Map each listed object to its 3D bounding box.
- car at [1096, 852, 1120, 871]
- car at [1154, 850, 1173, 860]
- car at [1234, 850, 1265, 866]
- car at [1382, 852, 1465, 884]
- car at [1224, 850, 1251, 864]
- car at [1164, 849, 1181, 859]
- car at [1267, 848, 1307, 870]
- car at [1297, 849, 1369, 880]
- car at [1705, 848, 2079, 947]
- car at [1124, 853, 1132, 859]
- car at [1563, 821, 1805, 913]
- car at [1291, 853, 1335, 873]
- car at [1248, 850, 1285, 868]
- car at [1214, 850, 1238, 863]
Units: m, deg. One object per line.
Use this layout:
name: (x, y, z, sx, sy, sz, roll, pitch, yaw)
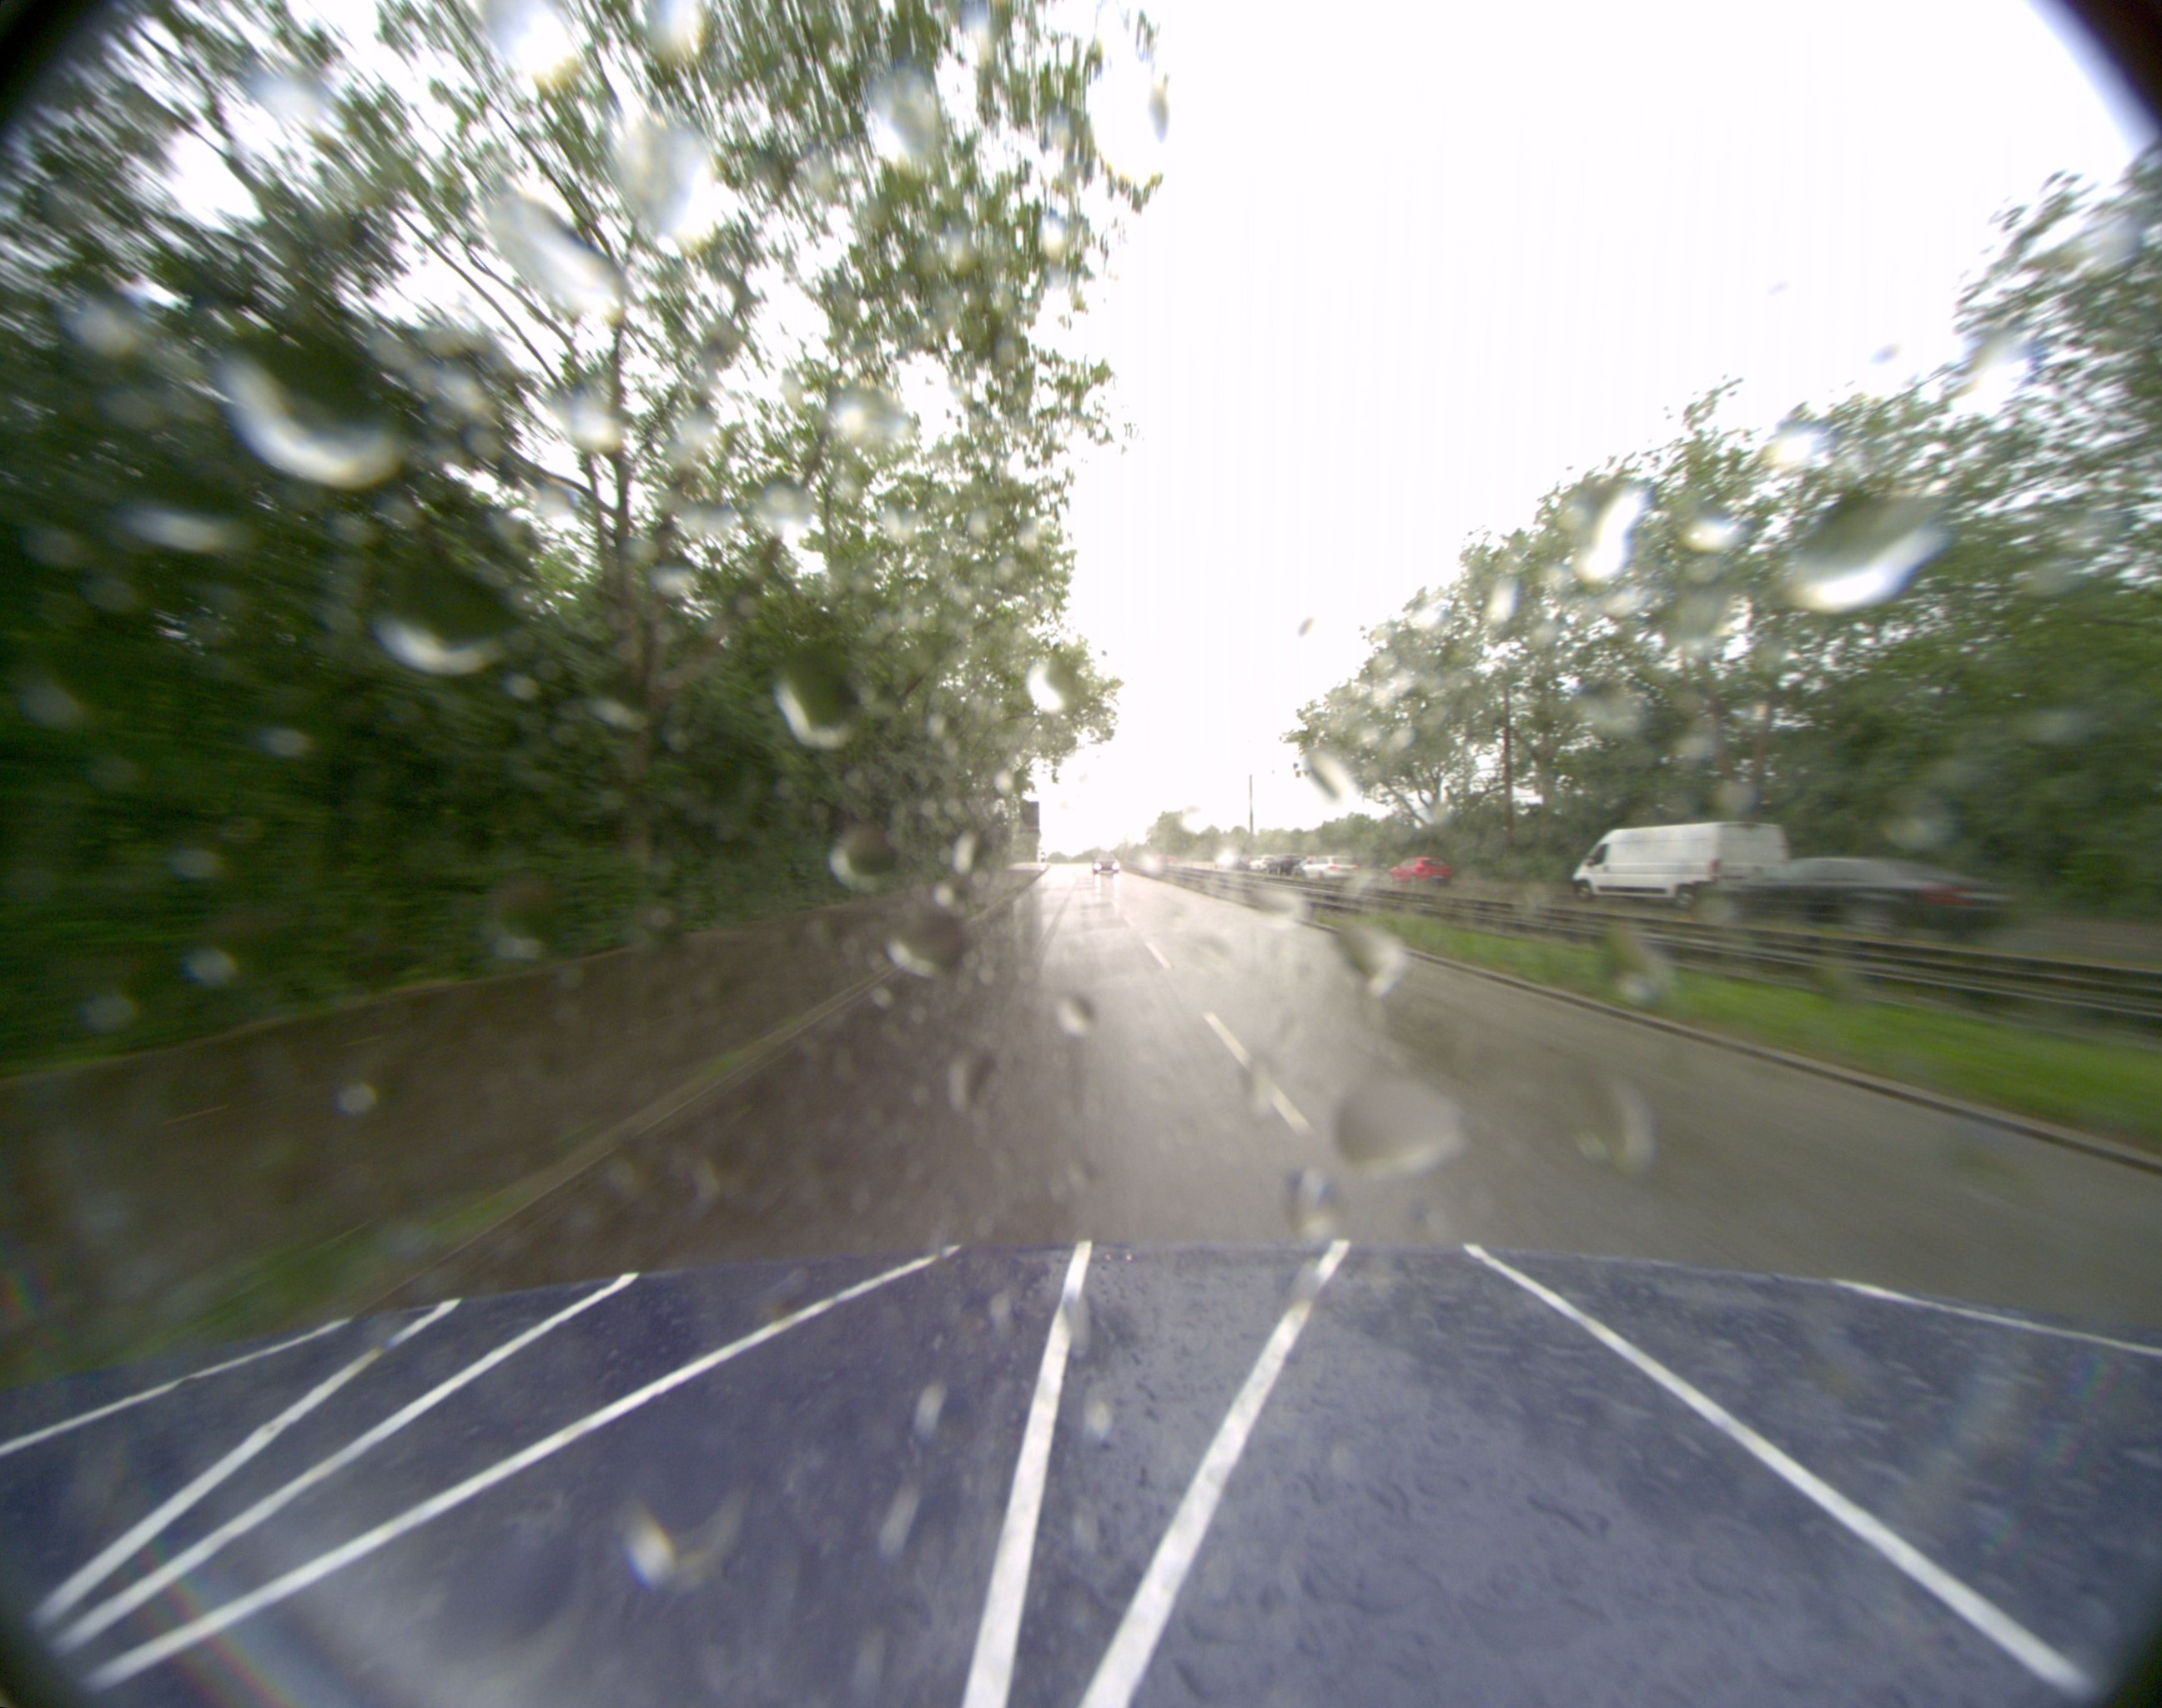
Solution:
car: (2.140, 0.547, 60.700, 1.726, 1.425, 3.851, -1, 0, 0)
car: (12.170, 0.089, 112.852, 2.039, 1.458, 4.916, -1, 0, -3)
car: (16.283, 0.372, 73.677, 1.653, 1.423, 4.130, 1, 0, -6)
car: (17.410, 0.673, 38.862, 2.039, 1.543, 4.383, 1, 0, -3)
car: (16.295, 0.313, 79.165, 1.653, 1.423, 3.924, 1, 0, -5)
car: (15.093, -0.007, 125.438, 2.039, 1.458, 4.916, -1, 0, -3)
car: (16.572, 0.382, 61.380, 1.891, 1.641, 4.367, 1, 1, -2)
car: (13.765, 0.532, 41.823, 2.039, 1.543, 4.995, 1, 0, -3)
car: (14.653, 0.672, 14.249, 2.039, 1.543, 4.565, 1, 0, -2)
car: (12.830, 0.522, 206.234, 1.998, 1.706, 3.999, -1, 1, 1)
car: (17.969, 0.301, 23.256, 2.336, 2.432, 6.137, 0, 1, -2)
car: (16.861, 0.601, 55.414, 1.891, 1.371, 3.964, 1, 0, -2)
car: (16.423, 0.427, 67.497, 1.891, 1.502, 4.577, 1, 0, -3)
car: (16.086, 0.253, 84.466, 1.653, 1.423, 4.150, 1, 0, -4)
